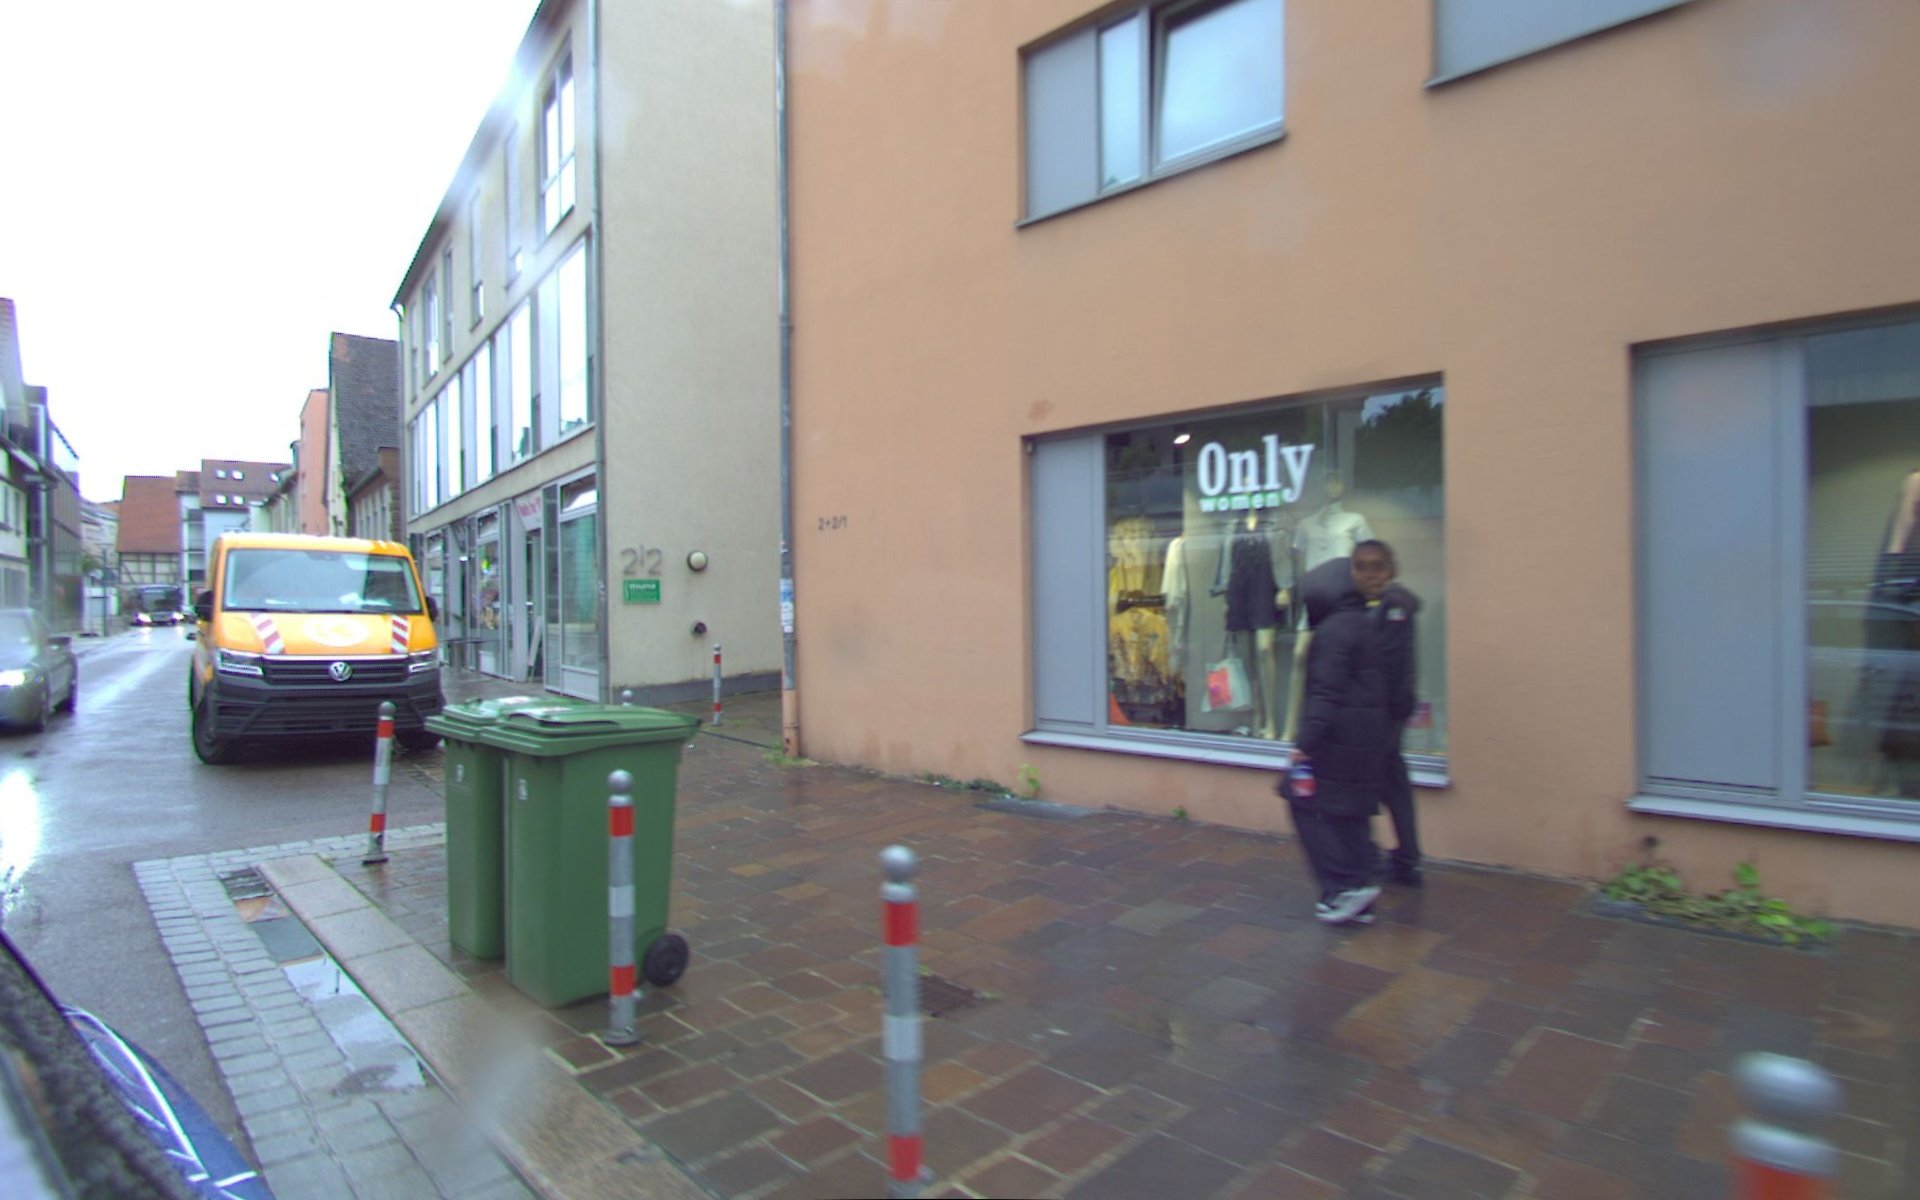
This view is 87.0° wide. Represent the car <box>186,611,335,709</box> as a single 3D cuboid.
[{"bbox_3d":[-11.459,0.876,16.448,1.733,1.366,4.490,0,-1,-38],"label":"car"}]

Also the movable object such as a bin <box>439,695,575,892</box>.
[{"bbox_3d":[-2.479,1.022,5.539,0.574,0.934,0.482,-1,0,-37],"label":"movable object such as a bin"}]

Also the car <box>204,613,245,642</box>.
[{"bbox_3d":[-36.734,1.343,50.519,1.606,1.377,3.497,-1,-1,-36],"label":"car"}]

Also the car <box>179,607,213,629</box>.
[{"bbox_3d":[-57.659,1.351,76.384,1.967,1.608,4.009,0,-1,-37],"label":"car"}]

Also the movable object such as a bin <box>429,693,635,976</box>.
[{"bbox_3d":[-1.889,0.972,4.473,0.610,1.044,0.649,-1,-1,43],"label":"movable object such as a bin"}]

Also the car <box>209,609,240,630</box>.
[{"bbox_3d":[-49.600,1.294,68.247,1.606,1.377,3.497,-1,-1,-36],"label":"car"}]

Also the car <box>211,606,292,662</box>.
[{"bbox_3d":[-21.200,0.962,30.225,1.713,1.537,3.938,0,-1,-39],"label":"car"}]

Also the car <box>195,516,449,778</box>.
[{"bbox_3d":[-7.536,0.423,11.660,1.967,2.256,5.874,0,-1,-37],"label":"car"}]

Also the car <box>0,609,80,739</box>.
[{"bbox_3d":[-12.307,0.825,12.384,1.916,1.413,4.430,0,0,-36],"label":"car"}]

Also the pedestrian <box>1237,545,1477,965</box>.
[{"bbox_3d":[1.757,0.601,4.483,0.746,1.652,0.707,-1,1,45],"label":"pedestrian"}]

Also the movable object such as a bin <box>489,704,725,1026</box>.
[{"bbox_3d":[-1.375,0.962,3.955,0.610,1.044,0.649,-1,-2,43],"label":"movable object such as a bin"}]

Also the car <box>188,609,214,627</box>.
[{"bbox_3d":[-60.455,1.435,80.597,1.606,1.377,3.497,-1,-1,-36],"label":"car"}]

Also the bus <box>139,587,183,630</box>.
[{"bbox_3d":[-62.277,0.663,78.804,2.571,3.218,7.389,0,-1,-39],"label":"bus"}]

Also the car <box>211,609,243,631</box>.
[{"bbox_3d":[-46.782,1.273,64.609,1.606,1.377,3.497,-1,-1,-36],"label":"car"}]

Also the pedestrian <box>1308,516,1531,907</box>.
[{"bbox_3d":[2.247,0.488,4.967,0.809,1.725,0.615,-1,1,45],"label":"pedestrian"}]
